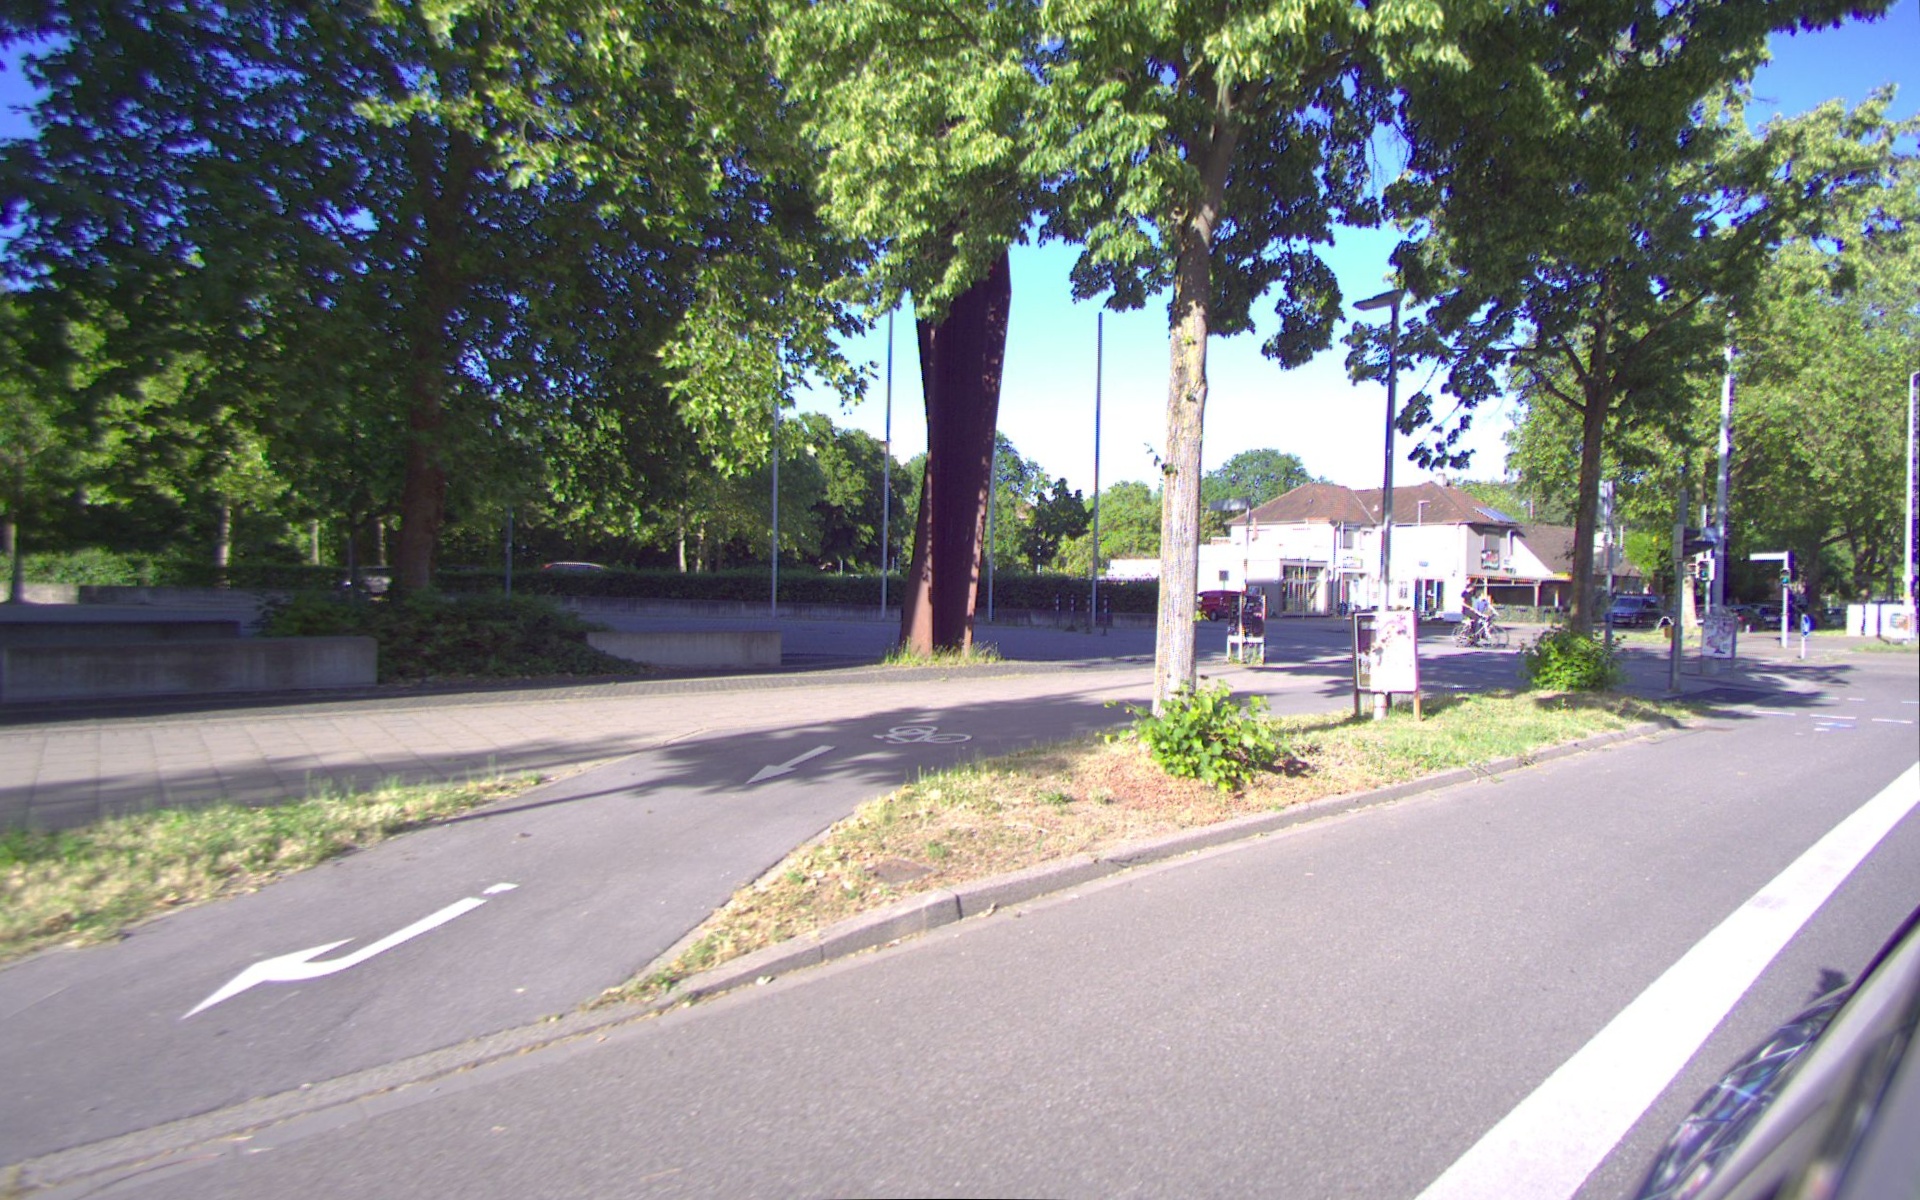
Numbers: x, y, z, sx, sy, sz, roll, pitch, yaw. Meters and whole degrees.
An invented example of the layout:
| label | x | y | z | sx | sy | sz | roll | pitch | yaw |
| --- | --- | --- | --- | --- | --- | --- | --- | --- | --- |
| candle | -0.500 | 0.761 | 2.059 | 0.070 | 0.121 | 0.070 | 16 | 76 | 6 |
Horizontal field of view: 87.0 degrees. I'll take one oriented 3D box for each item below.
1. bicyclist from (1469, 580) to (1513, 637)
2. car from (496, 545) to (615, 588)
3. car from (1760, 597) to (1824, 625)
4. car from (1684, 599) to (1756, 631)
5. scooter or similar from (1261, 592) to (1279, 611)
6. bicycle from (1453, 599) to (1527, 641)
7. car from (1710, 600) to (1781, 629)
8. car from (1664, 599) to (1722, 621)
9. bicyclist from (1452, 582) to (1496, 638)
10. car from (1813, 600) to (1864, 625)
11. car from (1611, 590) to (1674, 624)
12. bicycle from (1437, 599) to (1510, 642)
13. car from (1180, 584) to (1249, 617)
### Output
| label | x | y | z | sx | sy | sz | roll | pitch | yaw |
| --- | --- | --- | --- | --- | --- | --- | --- | --- | --- |
| bicyclist | 16.727 | 0.258 | 31.879 | 0.815 | 1.759 | 0.878 | 2 | 1 | -29 |
| car | -15.348 | -1.243 | 38.585 | 3.917 | 1.484 | 2.004 | 1 | 0 | -11 |
| car | 48.079 | 0.606 | 58.472 | 4.265 | 1.507 | 1.899 | 0 | 0 | -36 |
| car | 37.526 | 0.701 | 49.929 | 3.963 | 1.484 | 1.899 | 0 | 0 | -38 |
| scooter or similar | 19.483 | 0.078 | 63.642 | 0.995 | 1.178 | 0.261 | 1 | 0 | 7 |
| bicycle | 16.701 | 0.621 | 31.960 | 0.540 | 1.218 | 2.107 | 2 | 1 | -29 |
| car | 40.940 | 0.736 | 52.699 | 4.266 | 1.429 | 1.899 | 0 | 0 | -37 |
| car | 51.751 | 0.685 | 71.387 | 4.820 | 1.504 | 1.900 | 0 | 0 | -36 |
| bicyclist | 15.941 | 0.301 | 31.413 | 0.777 | 1.674 | 0.878 | 2 | 1 | -29 |
| car | 55.632 | 0.774 | 64.065 | 3.979 | 1.504 | 1.897 | 0 | 0 | -41 |
| car | 44.133 | 0.419 | 65.429 | 4.978 | 2.062 | 1.899 | 0 | 2 | -39 |
| bicycle | 15.934 | 0.617 | 31.448 | 0.540 | 1.218 | 2.108 | 2 | 1 | -26 |
| car | 14.631 | 0.046 | 58.429 | 1.815 | 1.838 | 4.122 | 1 | -1 | -21 |
